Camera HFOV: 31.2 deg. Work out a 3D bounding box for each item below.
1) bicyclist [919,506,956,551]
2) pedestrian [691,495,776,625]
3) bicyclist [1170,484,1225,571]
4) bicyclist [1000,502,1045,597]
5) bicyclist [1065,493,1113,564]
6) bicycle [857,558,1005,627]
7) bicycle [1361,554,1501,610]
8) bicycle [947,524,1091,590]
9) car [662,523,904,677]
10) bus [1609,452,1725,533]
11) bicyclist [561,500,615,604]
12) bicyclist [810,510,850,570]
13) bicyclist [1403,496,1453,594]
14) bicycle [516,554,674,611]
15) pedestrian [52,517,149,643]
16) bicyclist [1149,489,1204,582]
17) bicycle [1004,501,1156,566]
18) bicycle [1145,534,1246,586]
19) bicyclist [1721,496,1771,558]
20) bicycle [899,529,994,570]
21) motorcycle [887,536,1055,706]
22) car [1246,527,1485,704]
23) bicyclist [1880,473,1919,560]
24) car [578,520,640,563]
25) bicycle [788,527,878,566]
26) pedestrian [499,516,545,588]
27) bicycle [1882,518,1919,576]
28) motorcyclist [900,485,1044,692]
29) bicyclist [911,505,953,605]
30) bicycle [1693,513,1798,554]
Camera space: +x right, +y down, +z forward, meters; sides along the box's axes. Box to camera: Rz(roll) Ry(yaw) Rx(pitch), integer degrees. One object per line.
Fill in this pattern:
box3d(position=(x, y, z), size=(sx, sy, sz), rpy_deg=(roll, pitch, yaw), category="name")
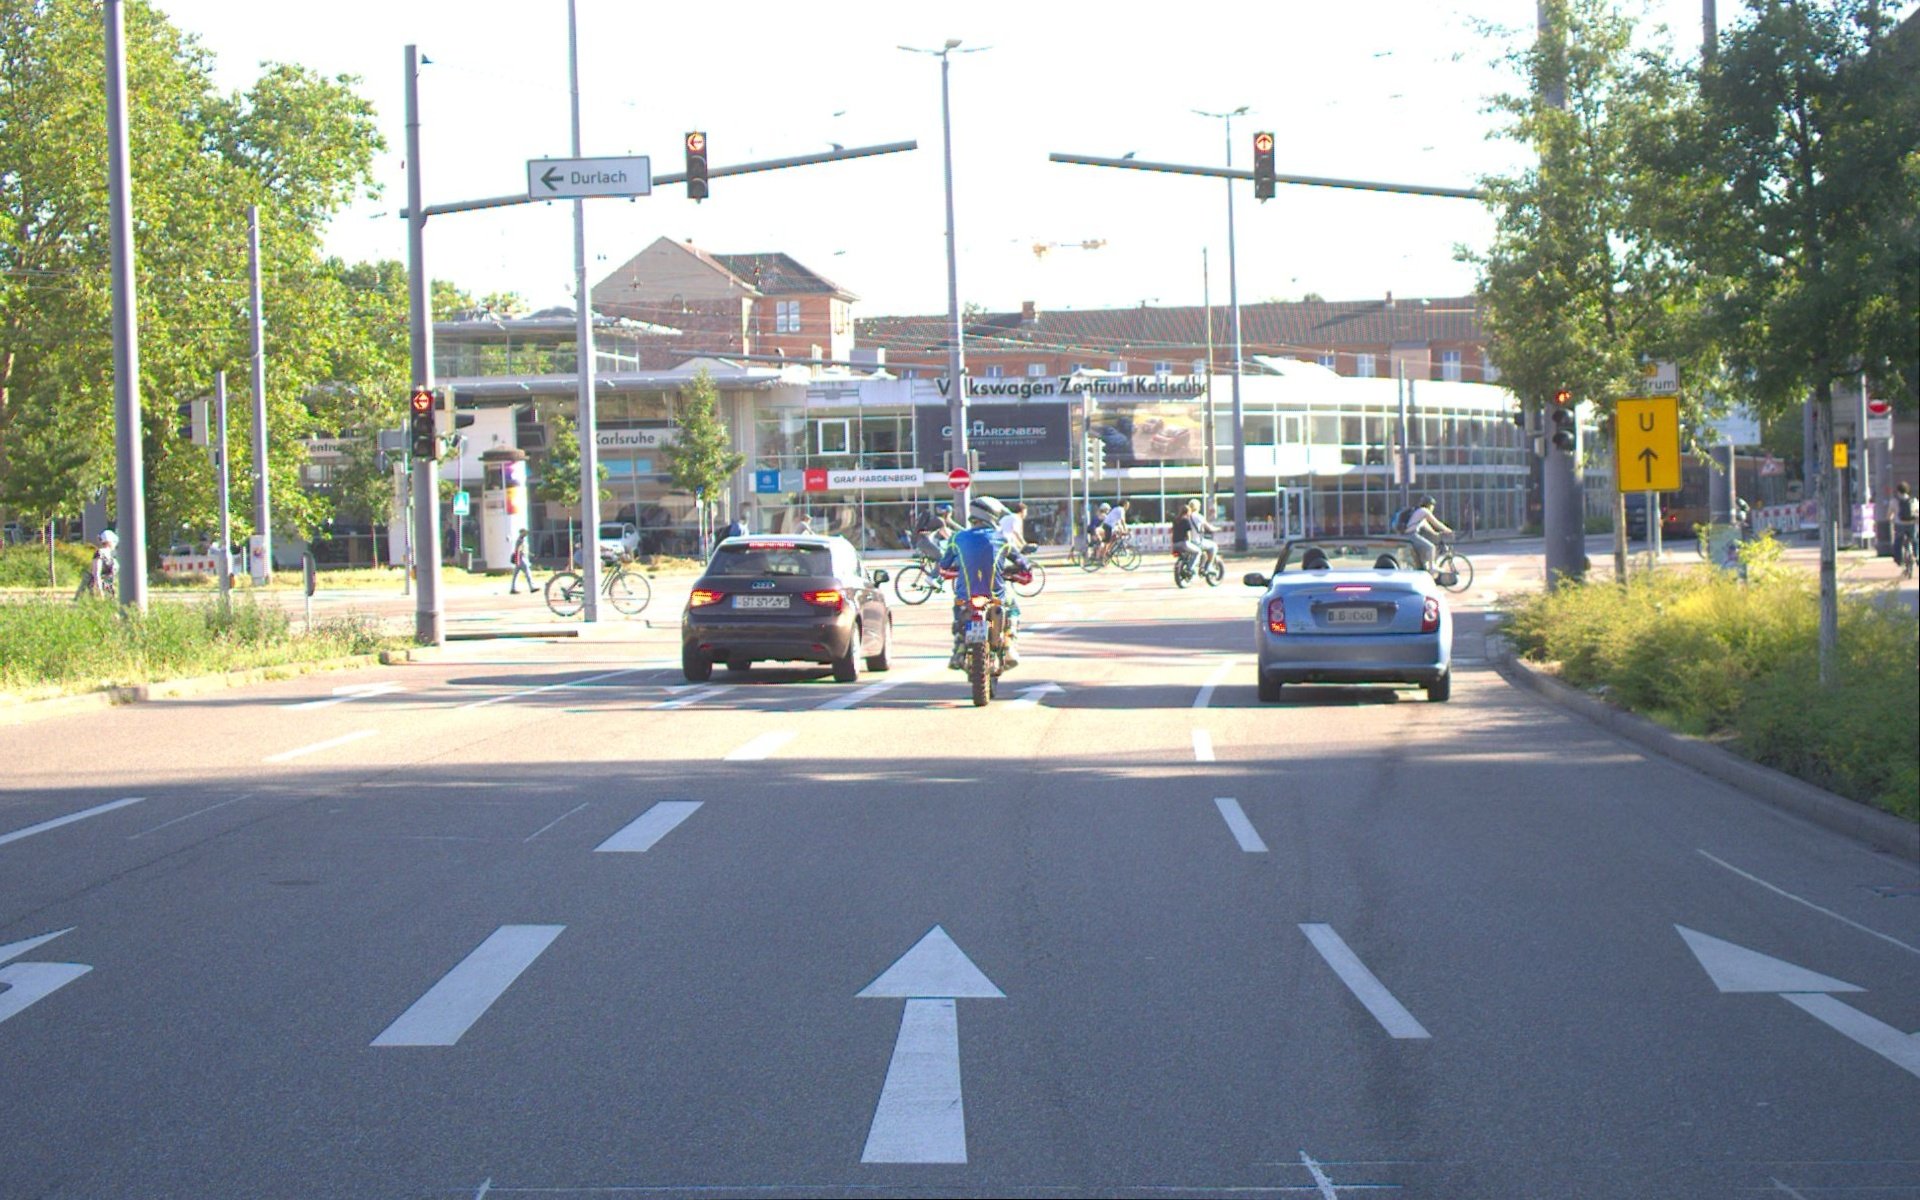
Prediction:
box3d(position=(-0.591, -1.859, 88.963), size=(0.712, 1.139, 0.838), rpy_deg=(-1, 3, -19), category="bicyclist")
box3d(position=(-2.950, -0.523, 44.743), size=(0.826, 1.666, 0.699), rpy_deg=(-2, 1, -33), category="pedestrian")
box3d(position=(4.662, -1.428, 67.455), size=(0.859, 1.685, 0.650), rpy_deg=(2, 4, 38), category="bicyclist")
box3d(position=(1.136, -0.927, 62.657), size=(0.649, 1.685, 0.860), rpy_deg=(-1, 3, -11), category="bicyclist")
box3d(position=(3.503, -1.951, 93.629), size=(1.070, 1.894, 1.123), rpy_deg=(-1, 3, -12), category="bicyclist")
box3d(position=(-0.512, -0.133, 59.340), size=(2.492, 1.129, 0.860), rpy_deg=(-1, 3, -5), category="bicycle")
box3d(position=(8.307, -0.323, 60.667), size=(2.295, 0.902, 0.860), rpy_deg=(-1, 3, -9), category="bicycle")
box3d(position=(1.073, -0.789, 62.649), size=(2.492, 1.129, 0.860), rpy_deg=(-1, 3, -11), category="bicycle")
box3d(position=(-1.706, -0.045, 34.449), size=(1.801, 1.439, 3.977), rpy_deg=(0, 1, 6), category="car")
box3d(position=(27.293, -4.182, 132.409), size=(2.357, 2.873, 9.567), rpy_deg=(1, 3, 24), category="bus")
box3d(position=(-6.166, -0.807, 56.993), size=(0.745, 1.685, 0.860), rpy_deg=(-1, 3, -15), category="bicyclist")
box3d(position=(-3.462, -1.604, 91.636), size=(0.923, 1.554, 0.860), rpy_deg=(-1, 3, -11), category="bicyclist")
box3d(position=(8.255, -0.975, 60.622), size=(0.649, 1.685, 0.860), rpy_deg=(-1, 3, -9), category="bicyclist")
box3d(position=(-6.055, -0.299, 57.052), size=(2.492, 0.871, 0.860), rpy_deg=(-1, 3, -15), category="bicycle")
box3d(position=(-11.241, -0.264, 44.982), size=(1.092, 1.601, 0.699), rpy_deg=(-1, 3, -4), category="pedestrian")
box3d(position=(4.207, -1.254, 66.900), size=(0.866, 1.771, 0.583), rpy_deg=(0, 1, 39), category="bicyclist")
box3d(position=(3.264, -1.826, 93.544), size=(3.986, 1.684, 1.139), rpy_deg=(-1, 3, -12), category="bicycle")
box3d(position=(4.630, -0.795, 67.425), size=(0.859, 0.902, 2.299), rpy_deg=(2, 4, 37), category="bicycle")
box3d(position=(20.235, -1.883, 88.534), size=(0.923, 1.554, 0.963), rpy_deg=(-1, 1, -9), category="bicyclist")
box3d(position=(-0.344, -1.316, 89.055), size=(2.295, 0.956, 0.860), rpy_deg=(-2, 4, -17), category="bicycle")
box3d(position=(0.125, 0.146, 29.146), size=(1.096, 1.372, 2.652), rpy_deg=(0, 1, 7), category="motorcycle")
box3d(position=(3.657, 0.081, 30.484), size=(1.801, 1.439, 3.976), rpy_deg=(1, 1, 11), category="car")
box3d(position=(17.769, -1.570, 64.738), size=(0.790, 1.588, 0.946), rpy_deg=(-3, 0, 14), category="bicyclist")
box3d(position=(-13.924, -2.343, 136.477), size=(1.993, 1.529, 4.001), rpy_deg=(0, 3, 1), category="car")
box3d(position=(-3.394, -1.426, 91.651), size=(2.295, 0.976, 0.860), rpy_deg=(-1, 3, -10), category="bicycle")
box3d(position=(-11.188, -1.233, 87.801), size=(0.989, 1.810, 0.920), rpy_deg=(0, 3, 5), category="pedestrian")
box3d(position=(17.845, -1.005, 64.839), size=(0.790, 1.035, 1.962), rpy_deg=(-3, 0, 14), category="bicycle")
box3d(position=(0.109, -0.101, 29.022), size=(1.096, 1.715, 0.936), rpy_deg=(0, 1, 7), category="motorcyclist")
box3d(position=(-0.484, -0.777, 59.317), size=(0.649, 1.685, 0.860), rpy_deg=(-1, 3, -5), category="bicyclist")
box3d(position=(20.234, -1.709, 88.536), size=(2.437, 1.000, 0.963), rpy_deg=(-1, 1, -9), category="bicycle")
